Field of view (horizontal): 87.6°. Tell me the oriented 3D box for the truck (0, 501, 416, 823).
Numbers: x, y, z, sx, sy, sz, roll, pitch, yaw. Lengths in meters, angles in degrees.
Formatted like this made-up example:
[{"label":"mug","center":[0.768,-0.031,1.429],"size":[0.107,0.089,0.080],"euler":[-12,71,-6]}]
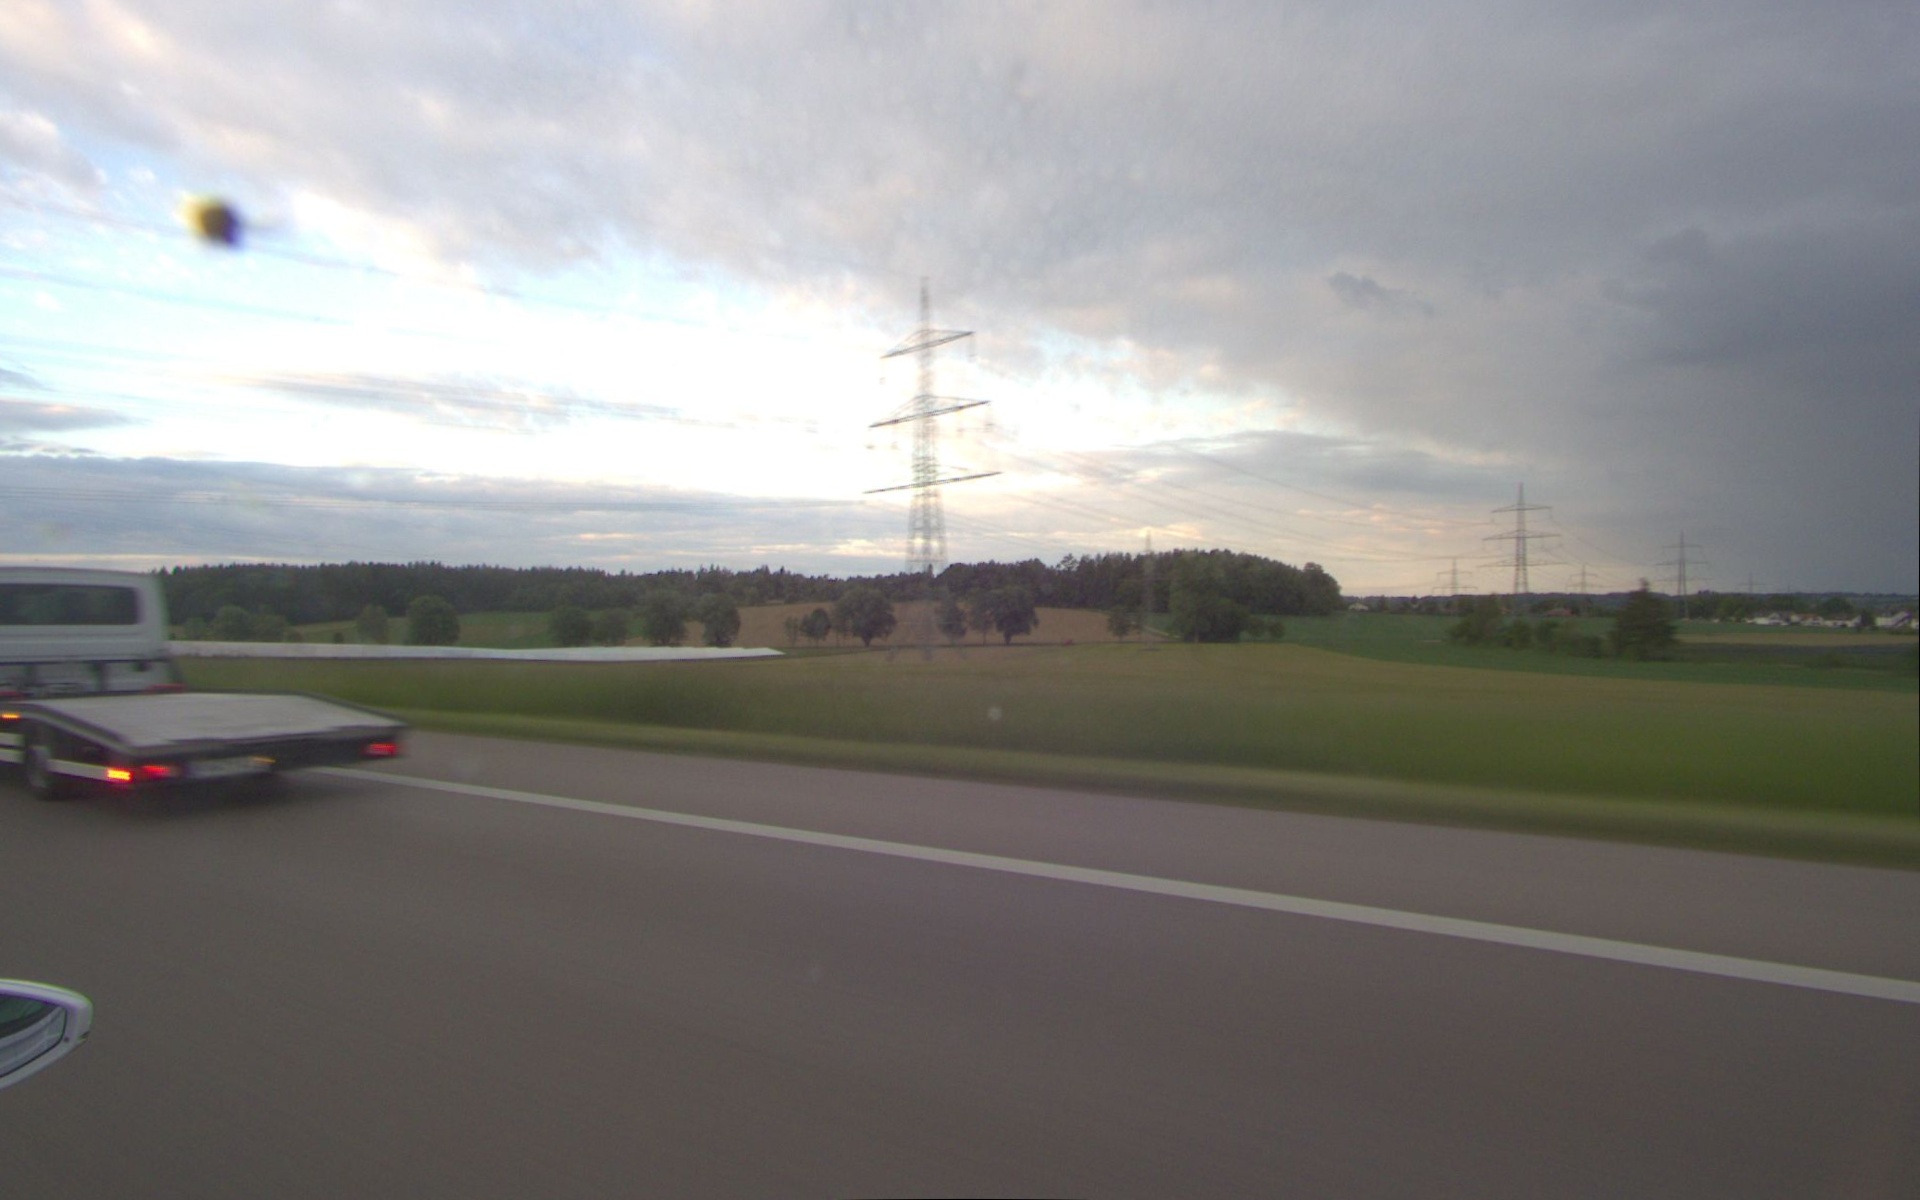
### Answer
[{"label":"truck","center":[-8.814,0.568,10.454],"size":[7.589,2.390,2.168],"euler":[-1,-2,33]}]
